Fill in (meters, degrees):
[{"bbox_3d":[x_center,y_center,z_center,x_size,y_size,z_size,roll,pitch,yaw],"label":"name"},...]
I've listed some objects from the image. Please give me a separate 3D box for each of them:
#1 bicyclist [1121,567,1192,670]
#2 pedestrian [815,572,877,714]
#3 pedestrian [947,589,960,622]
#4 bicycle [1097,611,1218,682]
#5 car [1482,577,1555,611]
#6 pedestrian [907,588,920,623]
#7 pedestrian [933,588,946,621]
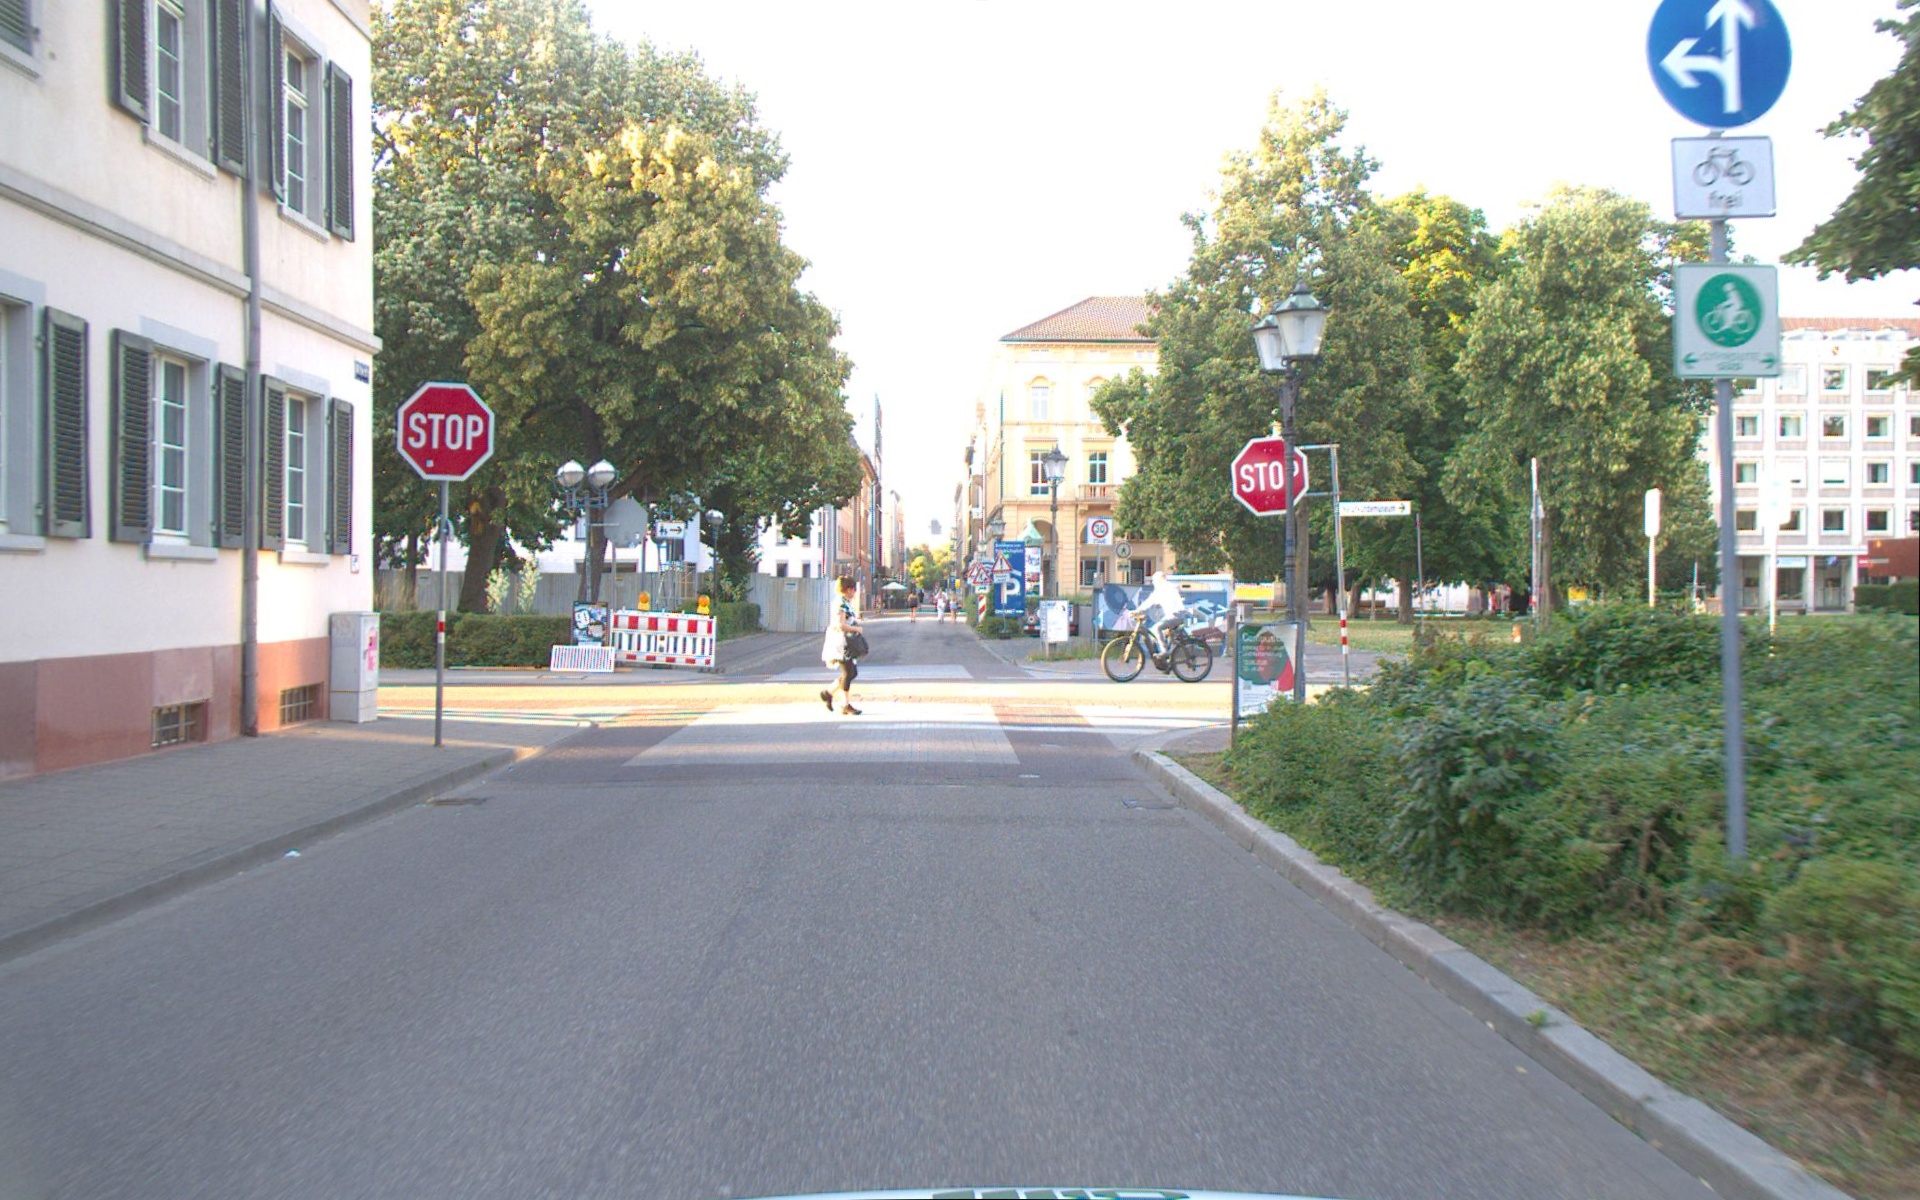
[{"bbox_3d":[3.215,0.297,27.149,1.041,1.661,0.595,0,0,-9],"label":"bicyclist"},{"bbox_3d":[-1.409,0.522,20.485,0.719,1.719,0.836,0,0,-2],"label":"pedestrian"},{"bbox_3d":[-0.312,0.288,84.255,0.644,1.645,0.745,-1,0,-1],"label":"pedestrian"},{"bbox_3d":[3.235,0.755,27.135,1.891,1.141,0.595,0,0,-9],"label":"bicycle"},{"bbox_3d":[35.339,-0.378,104.654,3.949,2.049,2.000,0,0,0],"label":"car"},{"bbox_3d":[-2.393,0.282,85.563,0.644,1.790,0.745,-1,0,-1],"label":"pedestrian"},{"bbox_3d":[-1.062,0.234,84.291,0.644,1.645,0.745,-1,0,-1],"label":"pedestrian"}]
